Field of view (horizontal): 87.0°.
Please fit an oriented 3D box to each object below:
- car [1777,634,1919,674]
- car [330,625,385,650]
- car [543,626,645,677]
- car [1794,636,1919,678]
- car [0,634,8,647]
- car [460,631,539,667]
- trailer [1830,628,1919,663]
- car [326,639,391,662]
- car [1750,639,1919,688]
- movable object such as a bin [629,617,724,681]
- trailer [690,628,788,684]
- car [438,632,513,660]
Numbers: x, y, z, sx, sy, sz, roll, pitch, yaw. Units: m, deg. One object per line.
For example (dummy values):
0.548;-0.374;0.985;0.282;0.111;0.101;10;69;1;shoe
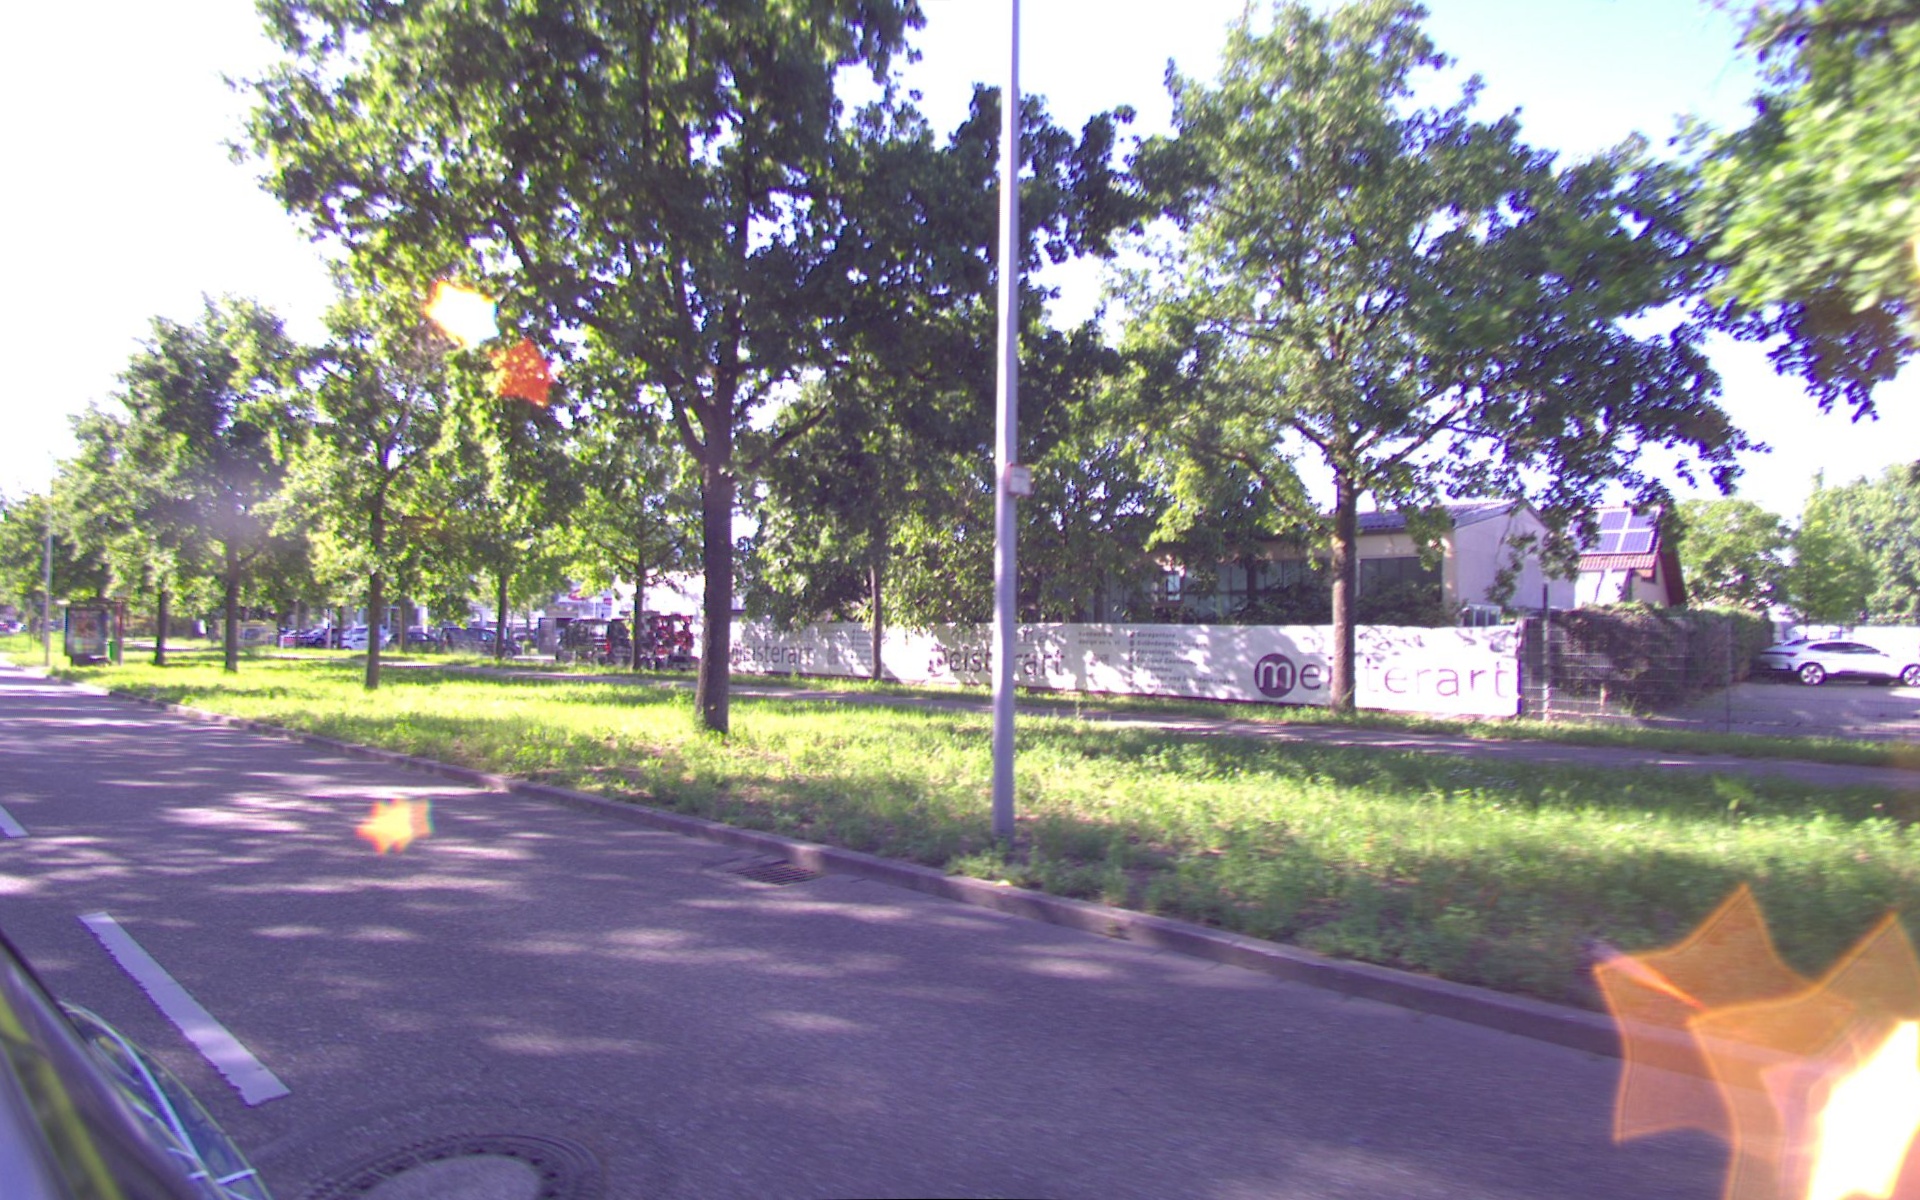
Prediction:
36.451;2.173;41.220;4.594;1.530;1.732;-1;-1;26;car
-48.461;2.974;81.530;1.973;1.852;3.998;-1;-1;2;car
-16.741;2.323;46.179;5.670;2.191;1.972;-2;-3;43;car
35.318;2.170;38.979;4.594;1.530;1.732;-1;-1;26;car
-152.296;6.473;160.353;1.969;2.029;4.005;2;-3;-41;car
-26.553;2.811;58.497;3.931;2.029;2.006;1;-2;-18;car
56.091;2.738;61.013;1.966;2.029;5.215;1;-2;-18;trailer
-42.711;3.564;71.970;3.827;1.513;2.006;-1;-1;-27;car
29.500;2.096;33.752;4.576;1.530;1.739;-1;-1;15;car
-12.026;2.027;42.795;4.236;2.535;1.972;-1;-1;43;movable object such as a bin
-8.411;2.089;38.354;3.965;2.029;1.734;-2;-3;44;trailer
-36.202;3.403;75.702;4.963;1.852;2.007;-1;-1;-25;car
